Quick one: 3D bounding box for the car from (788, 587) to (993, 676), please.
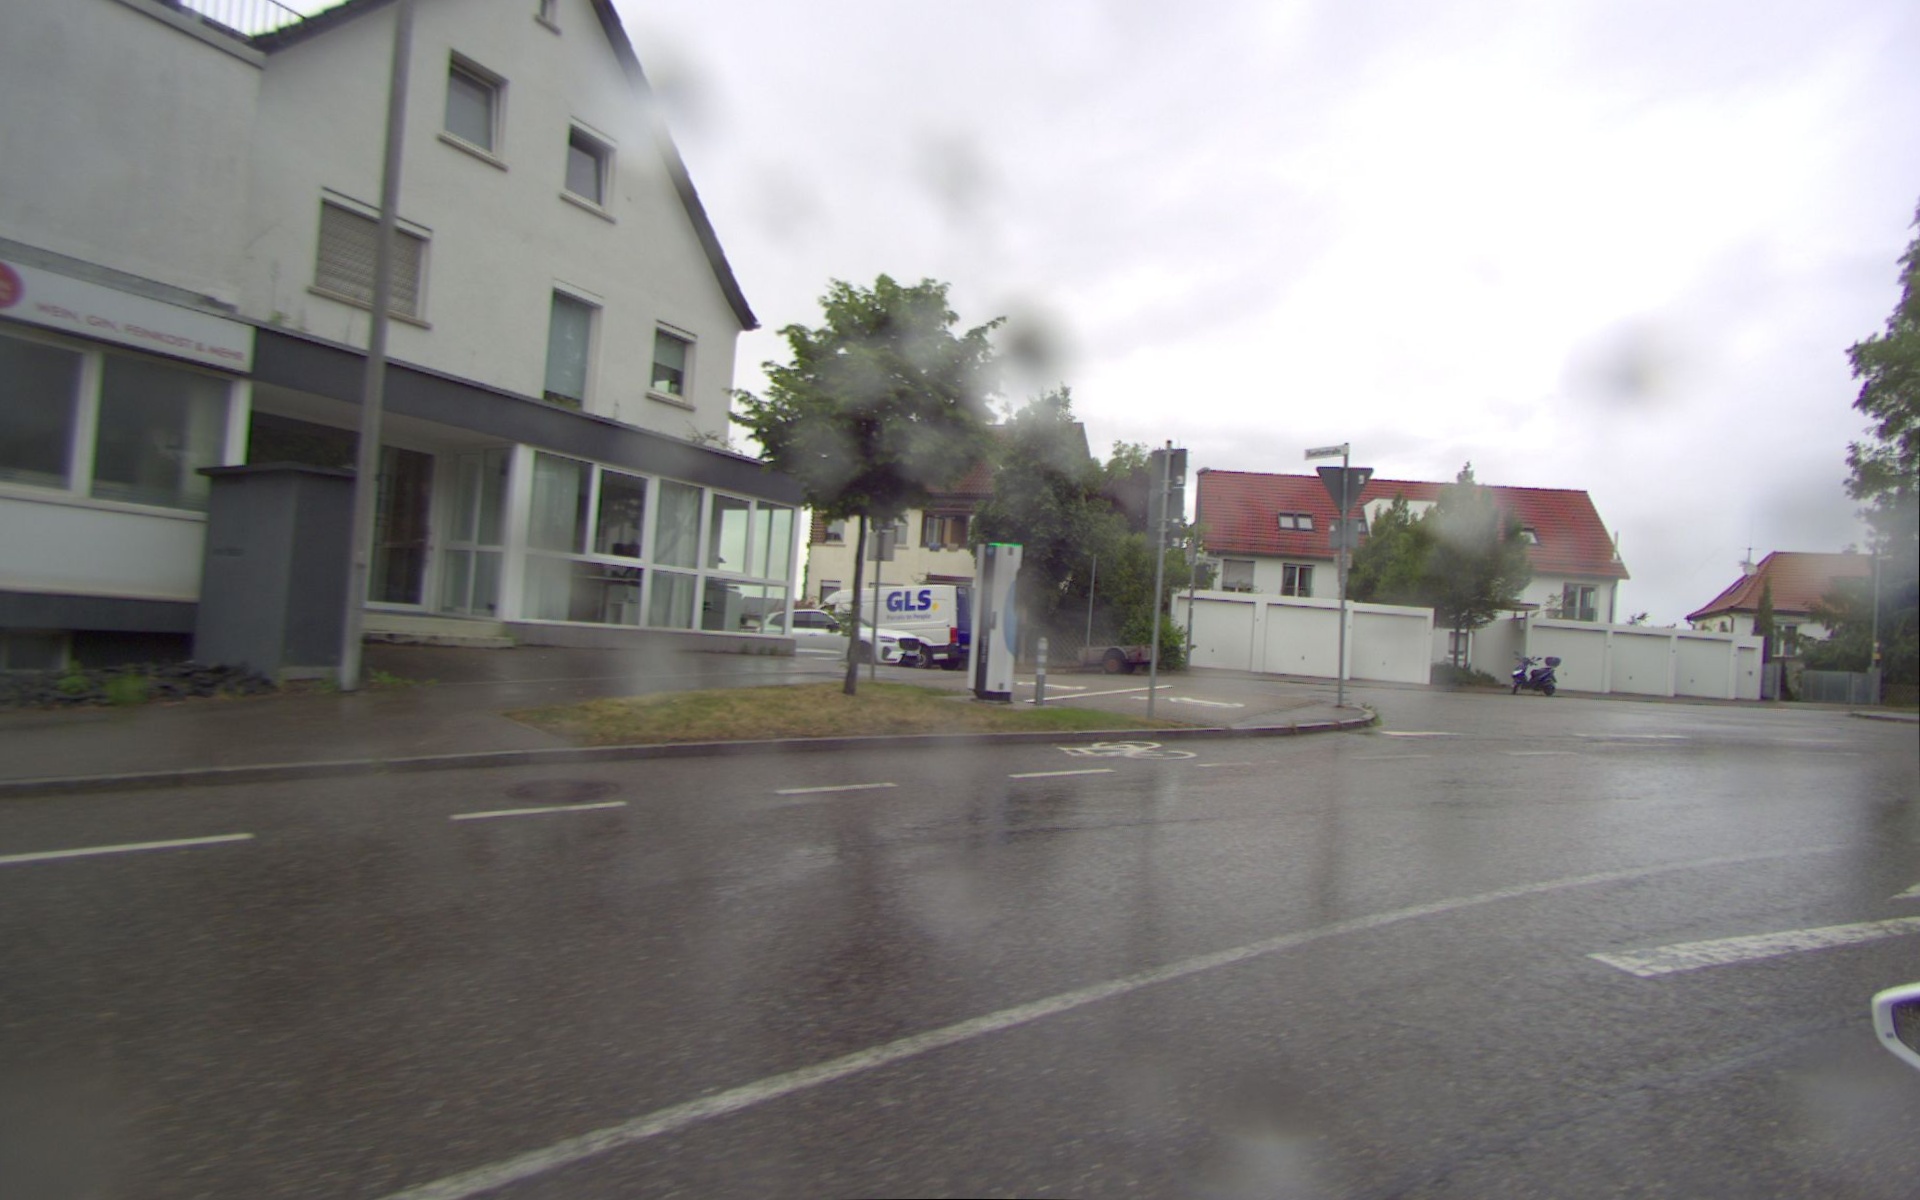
[{"bbox_3d":[-2.218,0.929,31.582,6.138,2.556,2.189,1,-2,27],"label":"car"}]

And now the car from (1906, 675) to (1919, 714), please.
[{"bbox_3d":[39.727,3.799,39.827,3.948,1.528,1.987,2,-2,-26],"label":"car"}]

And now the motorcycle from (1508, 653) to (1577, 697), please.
[{"bbox_3d":[18.660,2.388,32.184,2.012,1.339,0.707,2,-2,-15],"label":"motorcycle"}]

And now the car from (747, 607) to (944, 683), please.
[{"bbox_3d":[-2.974,1.116,25.762,4.709,1.728,2.063,1,-2,31],"label":"car"}]

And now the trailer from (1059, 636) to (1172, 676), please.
[{"bbox_3d":[4.408,1.574,28.556,2.775,1.020,1.589,0,-1,33],"label":"trailer"}]
